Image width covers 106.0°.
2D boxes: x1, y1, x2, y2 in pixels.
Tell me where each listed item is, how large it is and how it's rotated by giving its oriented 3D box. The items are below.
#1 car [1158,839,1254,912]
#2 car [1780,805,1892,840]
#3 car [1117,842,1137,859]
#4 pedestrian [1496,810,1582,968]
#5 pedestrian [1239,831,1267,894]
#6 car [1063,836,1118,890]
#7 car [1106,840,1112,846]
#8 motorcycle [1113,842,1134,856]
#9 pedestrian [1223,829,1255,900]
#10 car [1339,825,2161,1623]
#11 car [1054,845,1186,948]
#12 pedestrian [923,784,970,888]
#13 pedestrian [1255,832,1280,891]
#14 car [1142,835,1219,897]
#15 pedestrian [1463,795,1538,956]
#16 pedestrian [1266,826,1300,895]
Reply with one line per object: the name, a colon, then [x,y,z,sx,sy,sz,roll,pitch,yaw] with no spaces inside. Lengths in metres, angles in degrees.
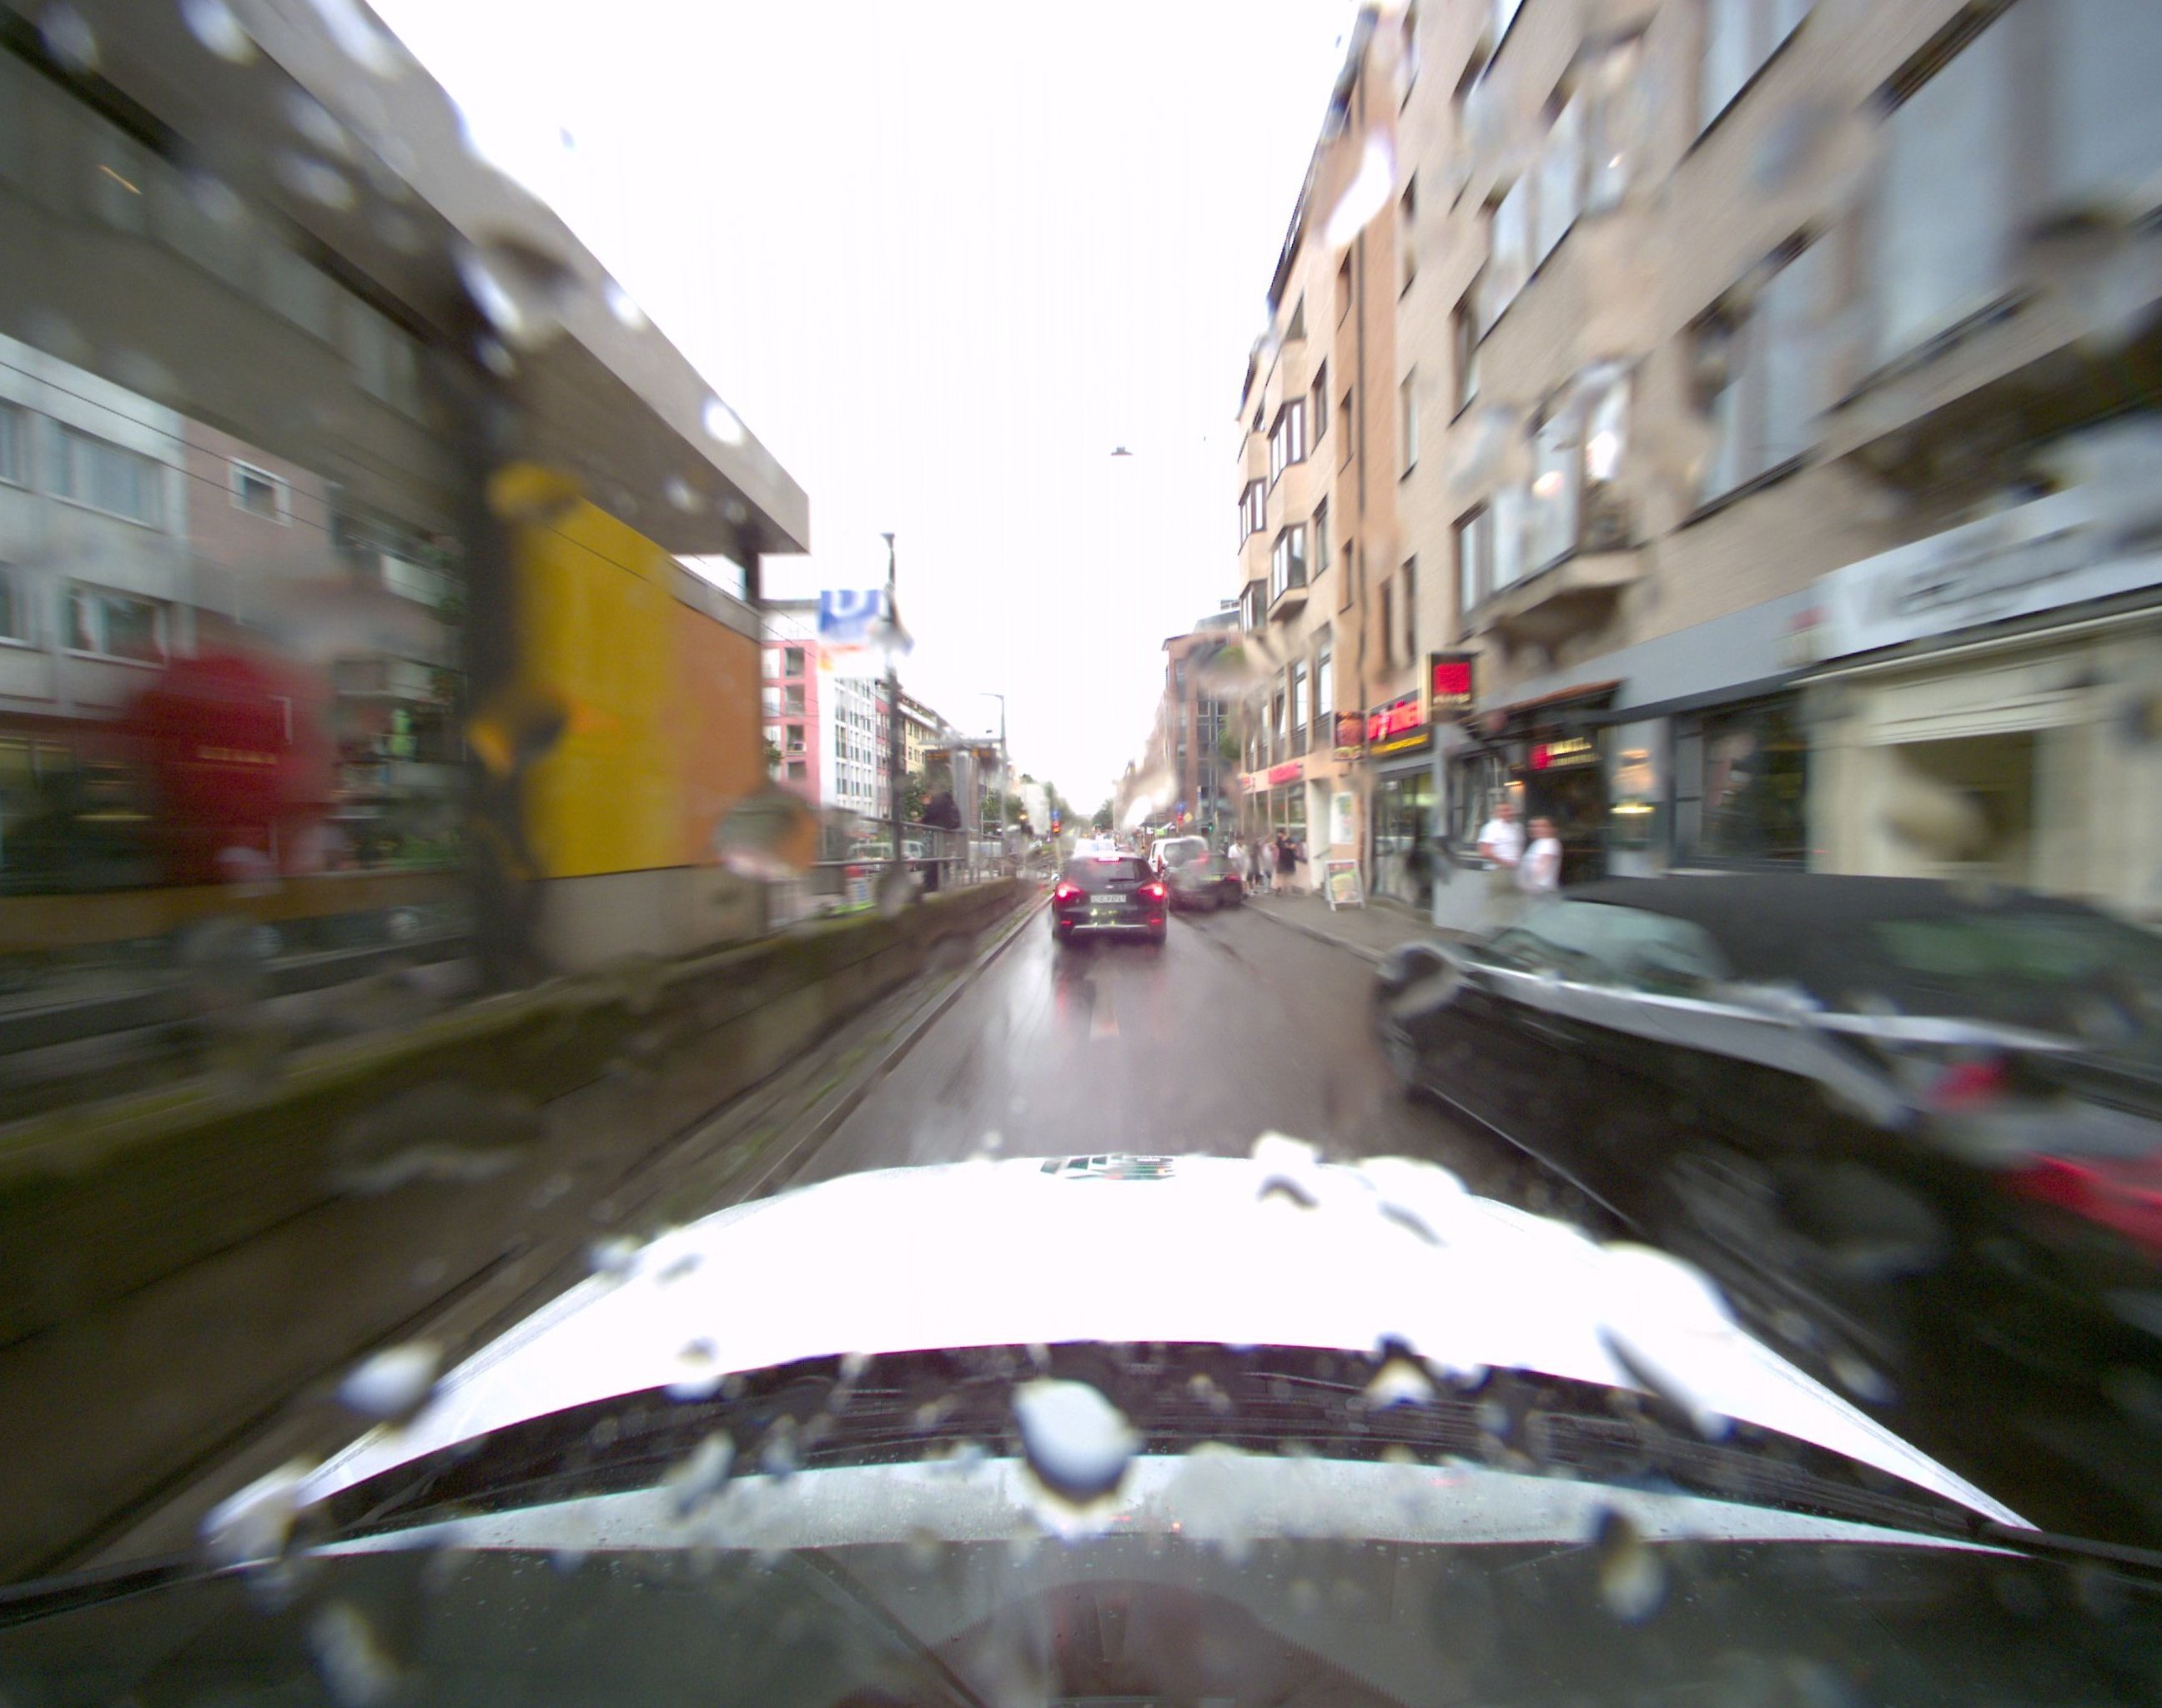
car: [3.073,0.483,20.869,1.899,1.615,4.415,-2,0,2]
car: [35.278,-1.449,38.115,3.647,1.455,1.674,-2,0,2]
car: [4.291,-0.334,75.929,1.692,1.479,3.870,-4,0,3]
pedestrian: [5.078,0.378,9.062,0.544,1.680,0.594,-2,0,-6]
pedestrian: [4.771,0.237,22.590,0.608,1.714,0.581,-2,0,2]
car: [0.415,0.310,31.461,1.899,1.864,4.576,-2,0,2]
car: [8.474,-3.308,246.925,1.899,1.633,4.576,-2,0,2]
motorcycle: [4.636,-0.574,88.647,2.066,1.407,0.803,-2,0,19]
pedestrian: [4.248,0.275,21.889,0.692,1.855,0.653,-2,0,2]
car: [2.755,0.657,3.630,1.900,1.462,4.246,-2,0,1]
car: [0.632,0.613,13.653,1.899,1.462,3.446,-2,0,2]
pedestrian: [-2.084,-0.278,12.687,0.581,1.557,0.701,-2,0,-1]
pedestrian: [5.525,0.216,24.132,0.573,1.714,0.477,-2,0,2]
car: [3.167,0.362,26.963,1.901,1.806,4.776,-2,0,0]
pedestrian: [5.026,0.251,9.772,0.528,1.858,0.555,-2,0,-6]
pedestrian: [5.475,0.181,22.117,0.753,1.819,0.588,-2,0,2]
